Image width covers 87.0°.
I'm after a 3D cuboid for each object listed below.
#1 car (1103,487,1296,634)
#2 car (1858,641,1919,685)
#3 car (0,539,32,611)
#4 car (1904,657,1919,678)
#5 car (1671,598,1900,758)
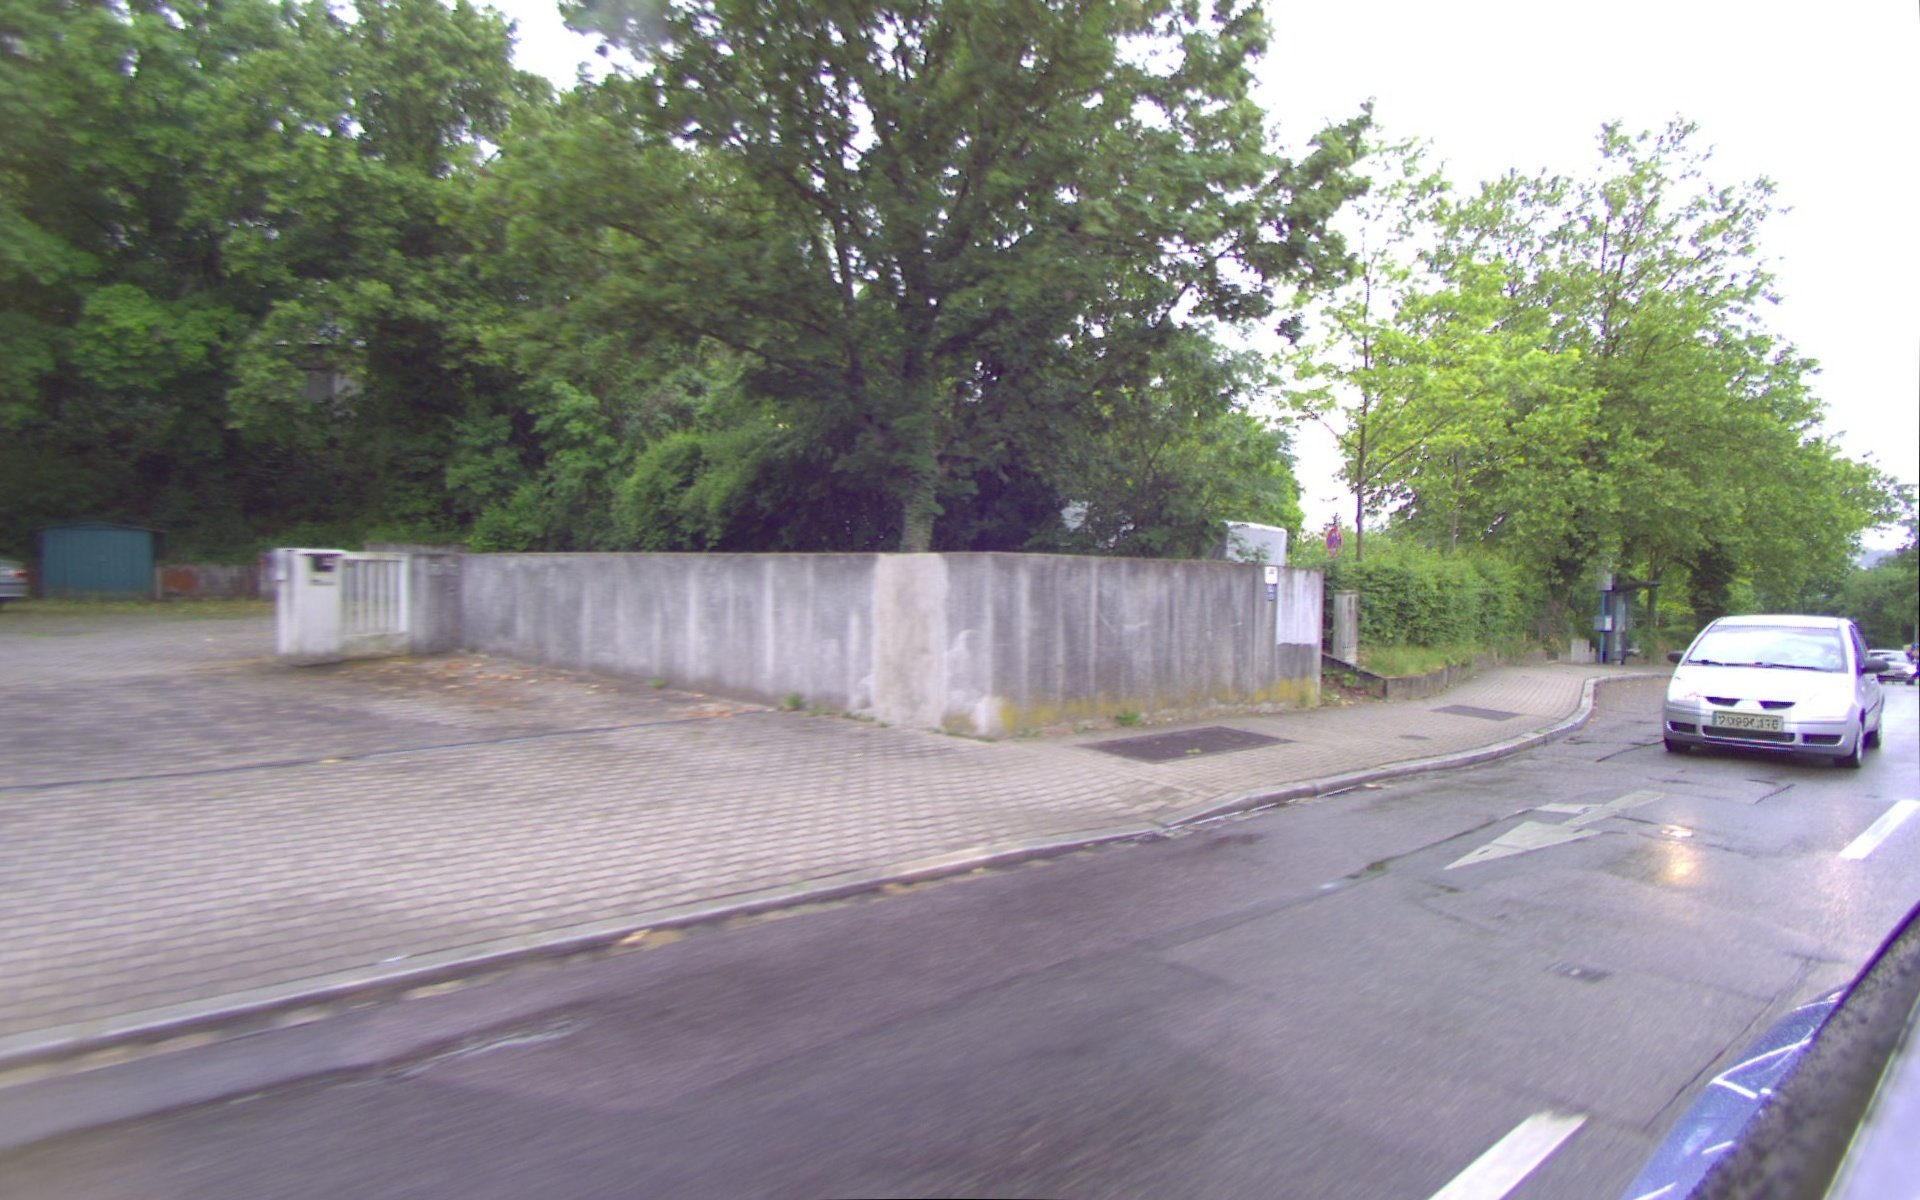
[{"bbox_3d":[4.557,-0.615,18.839,1.989,2.255,4.076,1,-3,37],"label":"car"},{"bbox_3d":[39.127,2.653,42.245,3.931,1.723,2.032,5,-5,-43],"label":"car"},{"bbox_3d":[-20.266,-0.528,19.516,3.377,1.393,1.483,2,2,0],"label":"car"},{"bbox_3d":[70.468,4.995,74.177,1.683,1.472,3.347,1,-2,40],"label":"car"},{"bbox_3d":[9.549,0.819,11.604,3.934,1.524,1.636,3,-3,-45],"label":"car"}]
